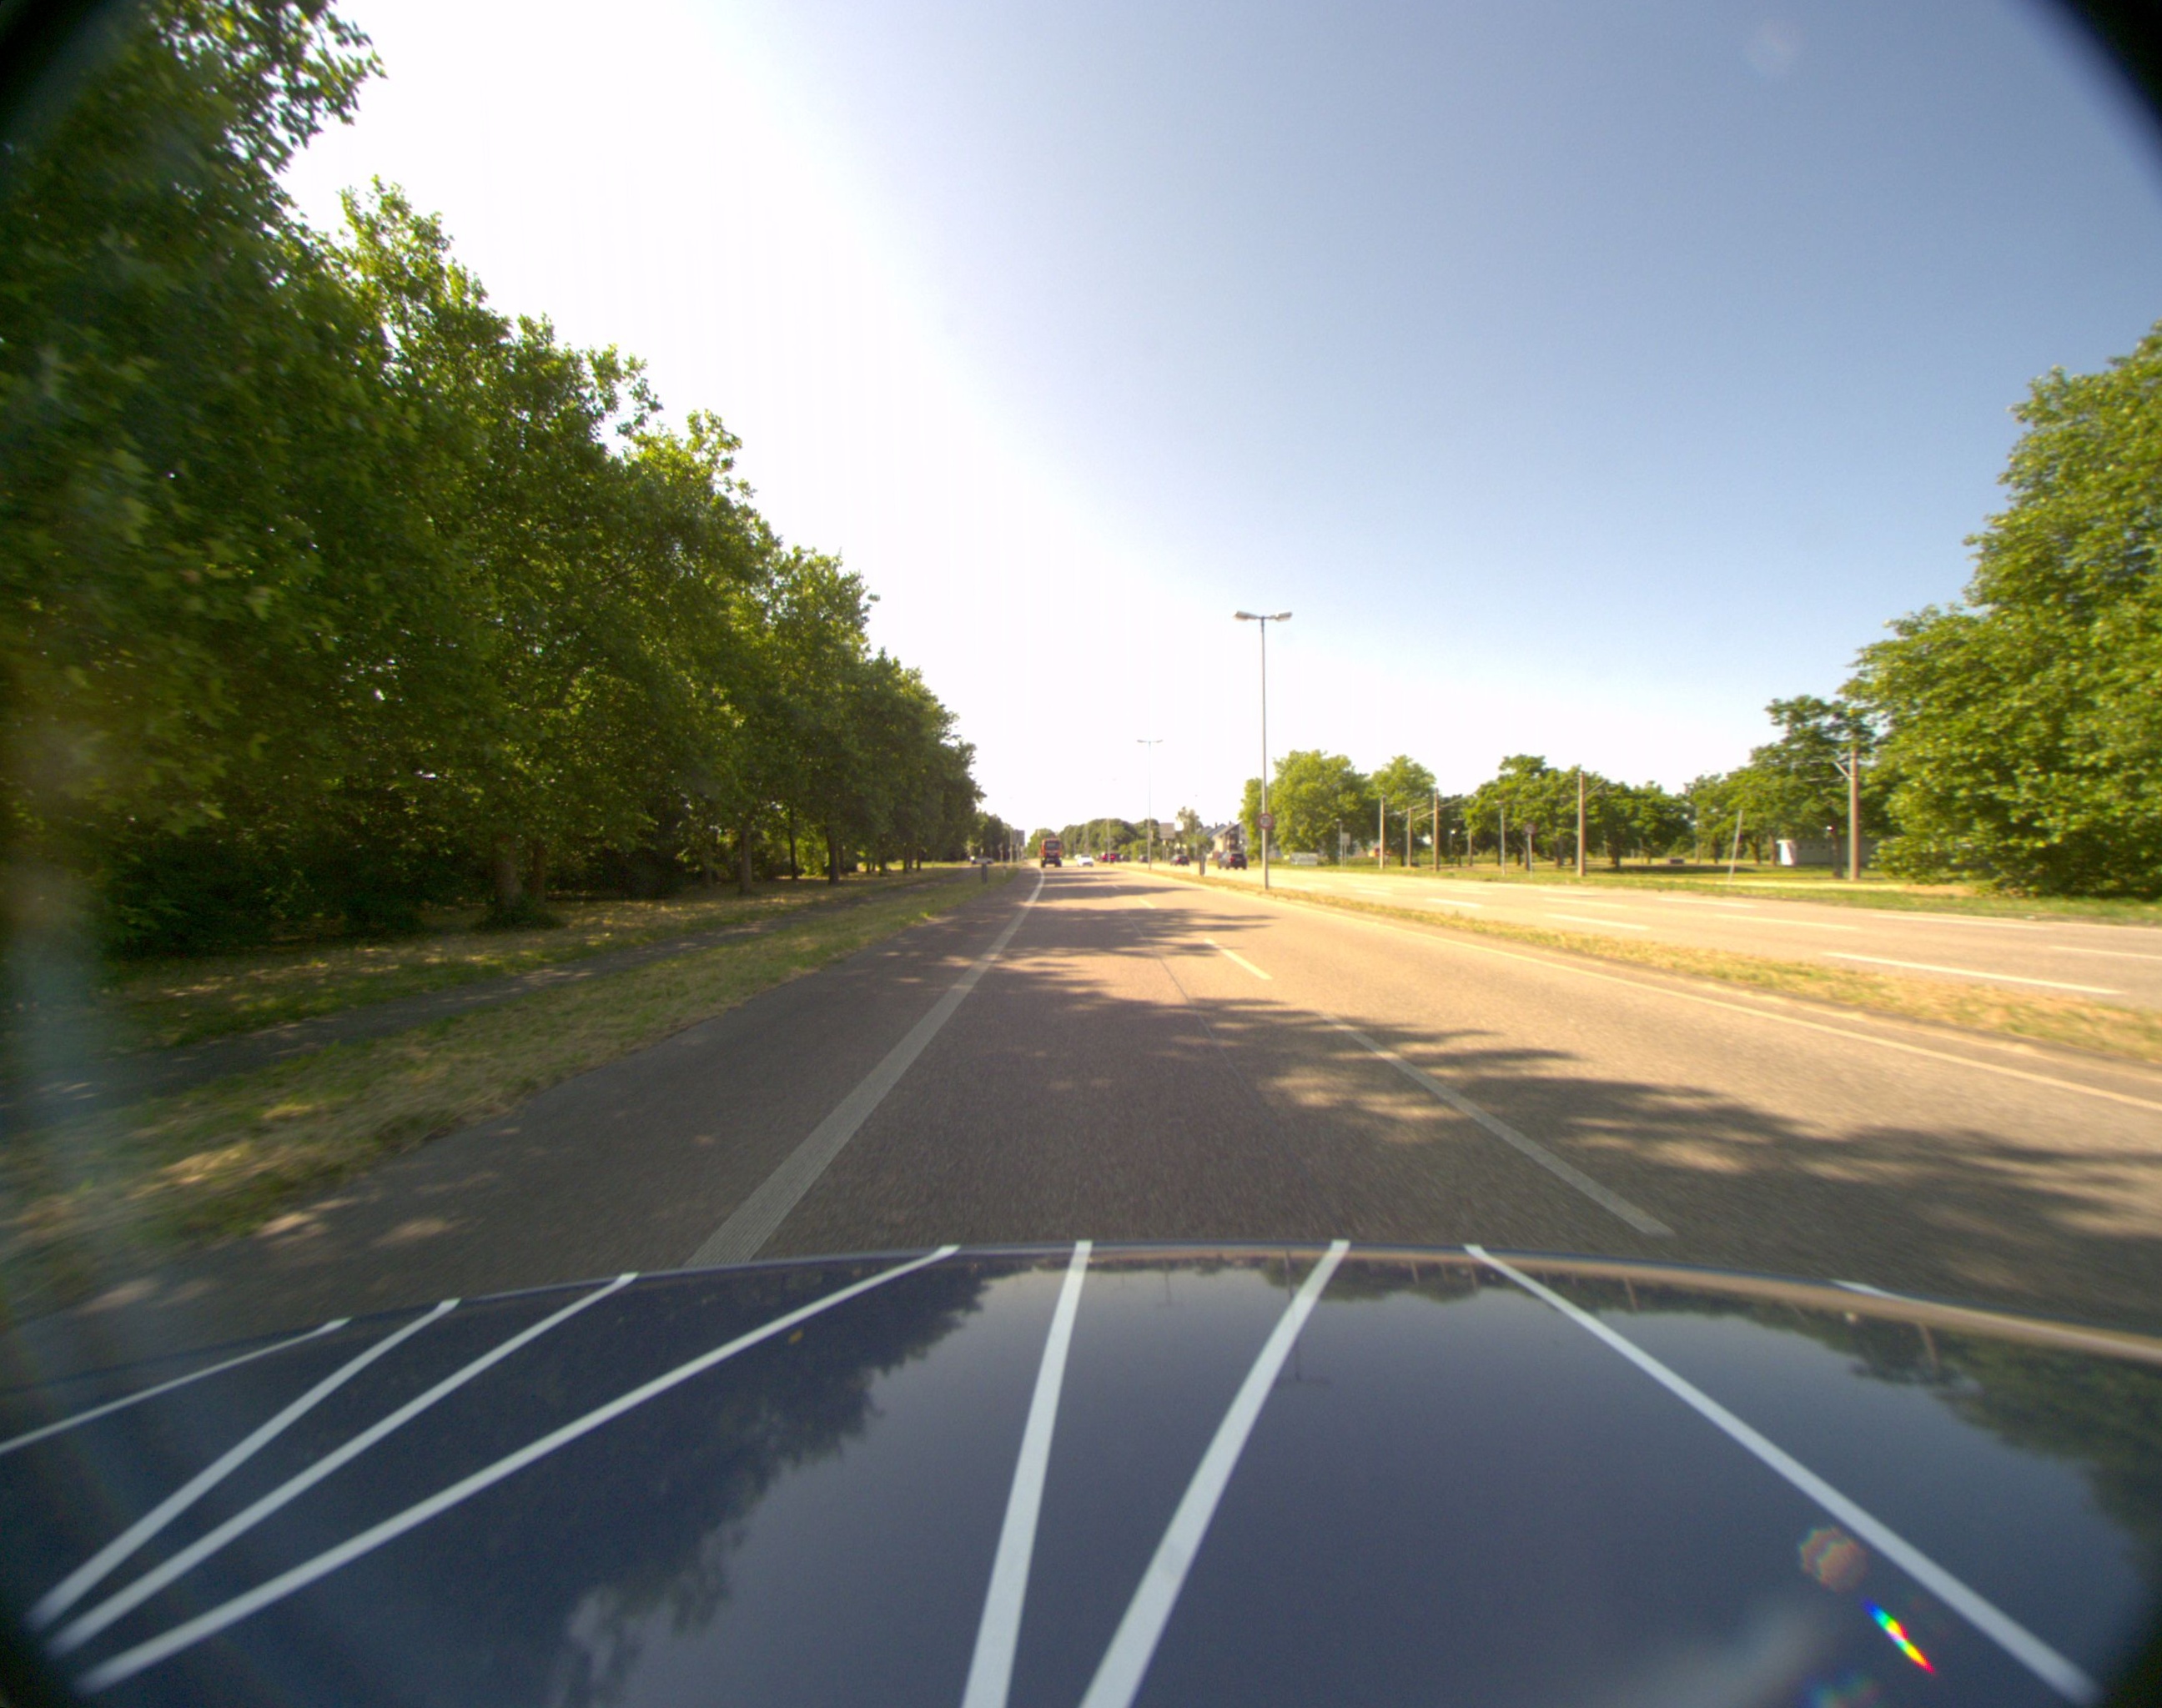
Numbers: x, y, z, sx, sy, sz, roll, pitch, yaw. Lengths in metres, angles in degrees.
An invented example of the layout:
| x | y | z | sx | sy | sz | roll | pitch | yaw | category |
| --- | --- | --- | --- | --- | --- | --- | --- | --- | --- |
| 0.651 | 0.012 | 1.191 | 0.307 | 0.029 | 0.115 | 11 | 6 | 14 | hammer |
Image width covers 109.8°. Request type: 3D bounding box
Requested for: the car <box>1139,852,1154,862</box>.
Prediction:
| x | y | z | sx | sy | sz | roll | pitch | yaw | category |
| --- | --- | --- | --- | --- | --- | --- | --- | --- | --- |
| 10.673 | 0.426 | 124.063 | 1.868 | 1.536 | 4.404 | -1 | 0 | -4 | car |

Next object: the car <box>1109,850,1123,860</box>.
| x | y | z | sx | sy | sz | roll | pitch | yaw | category |
| --- | --- | --- | --- | --- | --- | --- | --- | --- | --- |
| 6.214 | 0.187 | 134.976 | 1.987 | 1.769 | 4.487 | -1 | 0 | -5 | car |

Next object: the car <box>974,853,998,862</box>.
| x | y | z | sx | sy | sz | roll | pitch | yaw | category |
| --- | --- | --- | --- | --- | --- | --- | --- | --- | --- |
| -16.657 | 0.573 | 133.091 | 4.063 | 1.555 | 1.742 | -1 | 1 | -5 | car |

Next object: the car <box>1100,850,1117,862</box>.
| x | y | z | sx | sy | sz | roll | pitch | yaw | category |
| --- | --- | --- | --- | --- | --- | --- | --- | --- | --- |
| 4.120 | 0.270 | 114.000 | 1.987 | 1.740 | 4.505 | -2 | 1 | -4 | car |

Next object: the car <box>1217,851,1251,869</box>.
| x | y | z | sx | sy | sz | roll | pitch | yaw | category |
| --- | --- | --- | --- | --- | --- | --- | --- | --- | --- |
| 14.389 | 0.554 | 71.610 | 1.988 | 1.650 | 4.553 | -1 | 0 | -3 | car |

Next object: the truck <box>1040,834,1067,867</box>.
| x | y | z | sx | sy | sz | roll | pitch | yaw | category |
| --- | --- | --- | --- | --- | --- | --- | --- | --- | --- |
| -3.456 | -0.486 | 94.868 | 2.941 | 3.853 | 6.587 | -2 | 1 | -4 | truck |

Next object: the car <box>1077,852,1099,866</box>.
| x | y | z | sx | sy | sz | roll | pitch | yaw | category |
| --- | --- | --- | --- | --- | --- | --- | --- | --- | --- |
| 0.807 | 0.603 | 90.969 | 1.870 | 1.499 | 4.333 | -2 | 1 | -8 | car |

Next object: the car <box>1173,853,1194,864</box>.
| x | y | z | sx | sy | sz | roll | pitch | yaw | category |
| --- | --- | --- | --- | --- | --- | --- | --- | --- | --- |
| 12.858 | 0.554 | 95.959 | 1.836 | 1.457 | 4.468 | 0 | 0 | -3 | car |
